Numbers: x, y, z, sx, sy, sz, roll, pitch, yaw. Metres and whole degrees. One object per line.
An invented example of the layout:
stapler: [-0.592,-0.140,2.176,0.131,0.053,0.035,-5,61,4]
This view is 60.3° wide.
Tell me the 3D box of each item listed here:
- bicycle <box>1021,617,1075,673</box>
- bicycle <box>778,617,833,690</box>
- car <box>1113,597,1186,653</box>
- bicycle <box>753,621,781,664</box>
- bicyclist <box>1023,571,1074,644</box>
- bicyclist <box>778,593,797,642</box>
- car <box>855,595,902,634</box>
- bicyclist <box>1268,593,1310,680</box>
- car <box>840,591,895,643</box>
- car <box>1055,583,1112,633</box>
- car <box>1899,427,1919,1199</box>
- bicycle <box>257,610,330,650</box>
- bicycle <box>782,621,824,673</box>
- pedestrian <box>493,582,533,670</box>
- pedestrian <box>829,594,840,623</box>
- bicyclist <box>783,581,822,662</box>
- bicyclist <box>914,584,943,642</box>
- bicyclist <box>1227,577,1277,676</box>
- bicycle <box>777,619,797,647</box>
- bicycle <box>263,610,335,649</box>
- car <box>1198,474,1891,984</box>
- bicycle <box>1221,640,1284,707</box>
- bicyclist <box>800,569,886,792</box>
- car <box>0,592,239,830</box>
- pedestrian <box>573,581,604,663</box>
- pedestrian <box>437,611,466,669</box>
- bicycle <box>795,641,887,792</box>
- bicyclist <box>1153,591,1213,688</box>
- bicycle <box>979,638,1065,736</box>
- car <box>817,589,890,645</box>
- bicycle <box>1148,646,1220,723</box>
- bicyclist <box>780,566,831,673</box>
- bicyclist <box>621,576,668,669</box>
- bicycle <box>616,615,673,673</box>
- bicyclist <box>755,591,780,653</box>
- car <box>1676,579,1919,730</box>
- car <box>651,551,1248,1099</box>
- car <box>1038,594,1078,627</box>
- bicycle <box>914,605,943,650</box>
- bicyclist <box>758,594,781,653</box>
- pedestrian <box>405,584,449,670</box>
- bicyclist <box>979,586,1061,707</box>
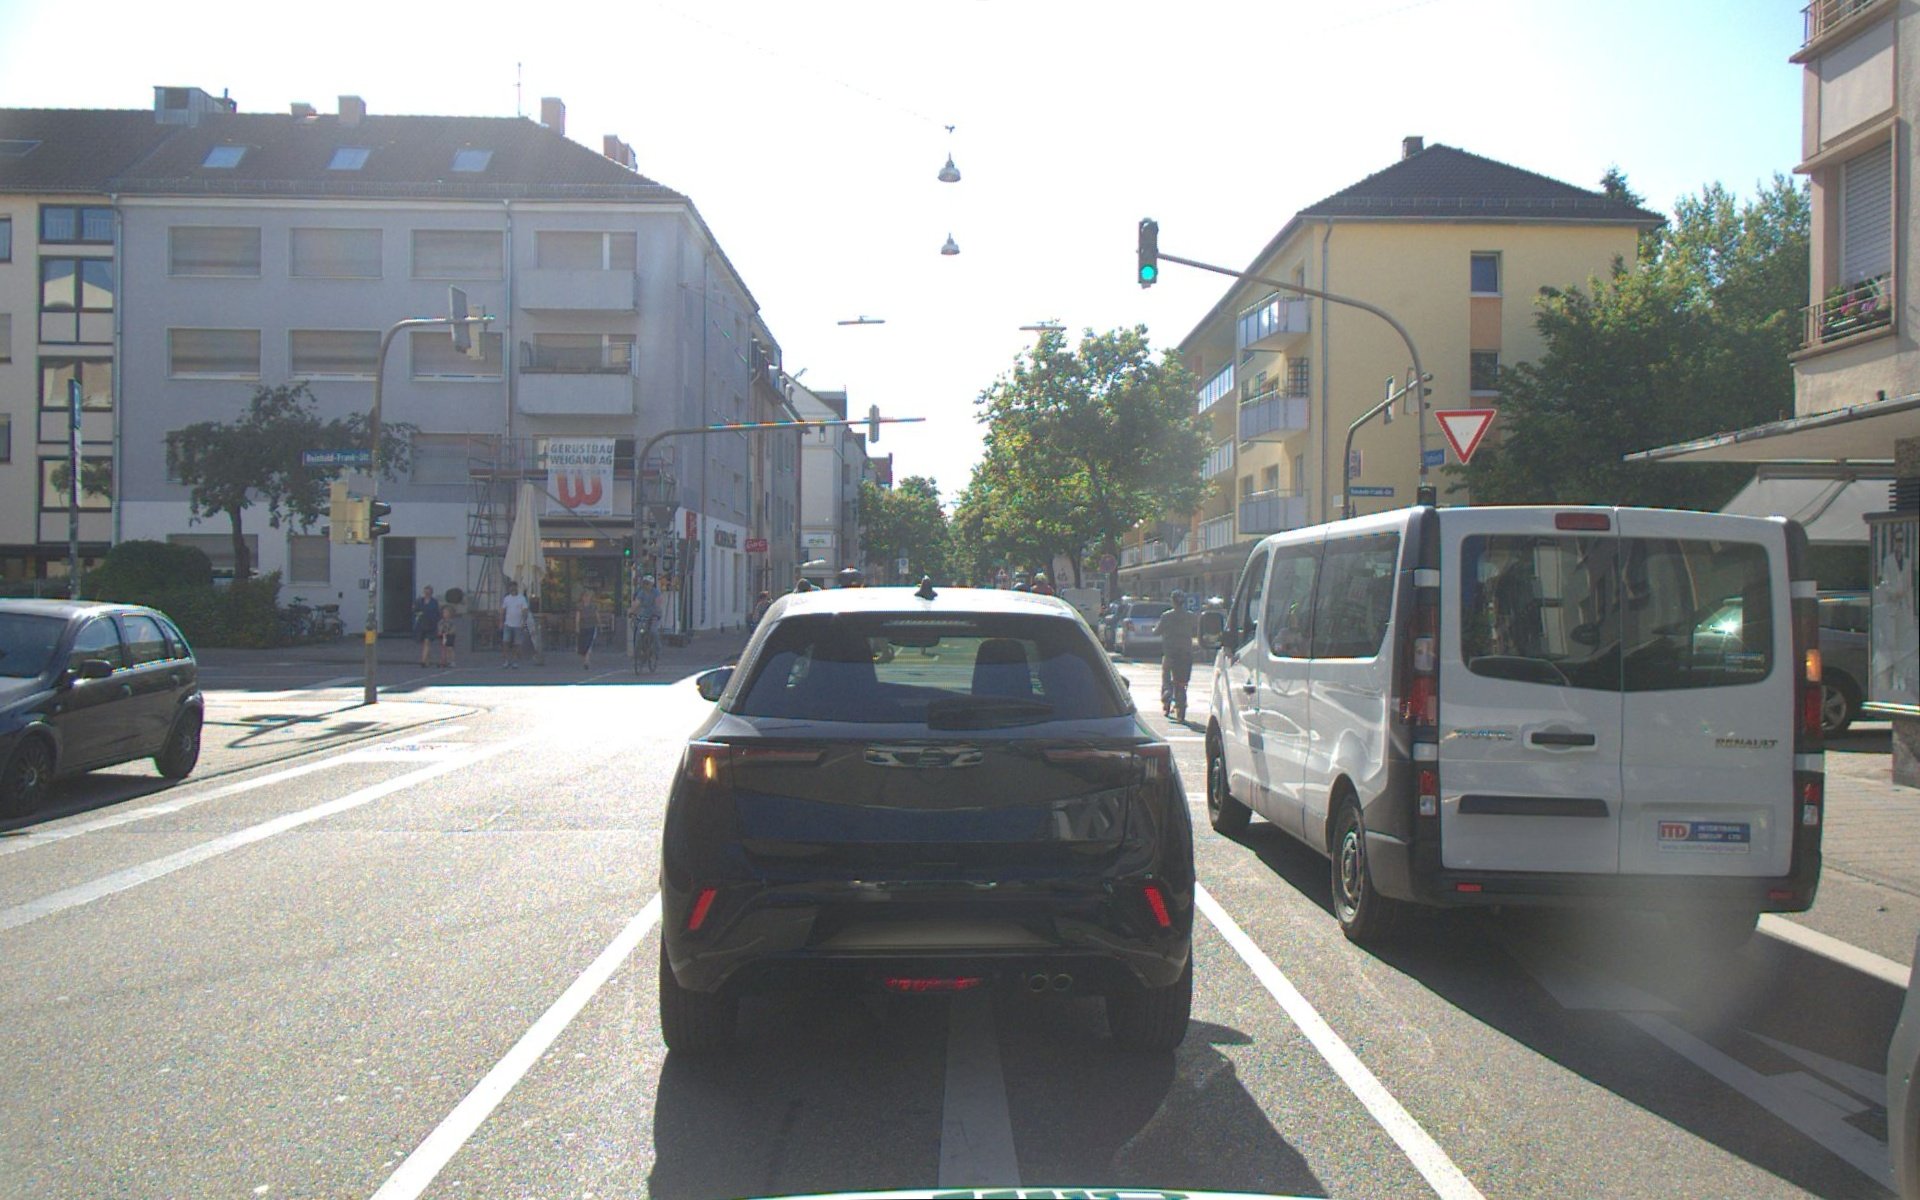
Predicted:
bicycle: [1.666,0.842,31.769,0.839,0.961,2.307,2,0,-1]
bicycle: [-2.410,0.823,25.915,0.702,1.082,1.872,0,0,-1]
car: [5.365,0.692,47.143,1.677,1.509,3.480,0,0,0]
bicycle: [-4.442,0.966,38.113,0.532,0.918,1.825,0,0,-4]
bicyclist: [1.691,0.142,31.744,0.839,1.337,1.210,2,0,-1]
bicyclist: [-5.599,0.563,53.802,0.542,1.576,0.814,1,0,-4]
car: [-3.248,0.550,65.964,1.769,1.437,4.423,-1,0,-3]
bicyclist: [5.453,0.596,27.453,0.535,1.406,0.823,0,0,0]
car: [-2.951,0.553,53.241,1.559,1.593,4.088,-1,0,0]
car: [4.809,0.292,64.995,2.003,1.879,4.585,0,0,1]
car: [3.057,0.558,1.173,1.928,1.842,4.831,0,0,-2]
bicycle: [-16.110,0.719,40.009,1.556,0.956,0.512,0,0,1]
bicycle: [-3.166,0.932,33.461,0.666,0.969,1.933,-1,0,-1]
pedestrian: [-8.859,0.511,32.784,0.561,1.718,0.670,0,0,4]
pedestrian: [-7.219,0.488,95.155,0.566,1.610,0.707,0,0,-6]
bicyclist: [-3.166,0.427,33.353,0.666,1.604,0.899,-1,0,-1]
bicyclist: [-0.917,0.363,48.265,0.785,1.678,1.125,0,0,1]
bicyclist: [4.249,0.379,24.110,0.576,1.406,0.823,0,0,0]
bicycle: [-5.608,1.055,53.608,0.542,0.848,2.130,1,0,-3]
bicycle: [-16.238,0.719,40.629,1.556,0.956,0.512,0,0,1]
car: [2.699,0.522,9.117,1.928,1.974,5.054,2,0,-1]
bicycle: [4.252,1.055,24.175,0.607,0.881,1.876,0,0,1]
bicyclist: [-0.916,0.611,13.161,0.619,1.698,1.050,0,0,-1]
car: [-7.096,0.712,12.503,1.657,1.473,3.855,2,0,-2]
pedestrian: [-7.345,0.427,32.738,0.521,1.609,0.562,0,0,-6]
pedestrian: [-10.250,0.803,33.349,0.377,1.166,0.532,0,0,5]
bicycle: [-0.921,0.888,13.162,0.619,1.059,1.795,0,0,-1]
bicyclist: [2.850,0.497,21.170,0.677,1.214,0.595,0,0,0]
bicycle: [0.686,0.966,19.083,0.839,0.961,2.307,2,0,-1]
car: [-2.916,0.445,46.017,1.800,1.459,4.176,0,0,-1]
bicycle: [2.843,1.056,21.168,0.677,0.881,1.876,0,0,0]
bicyclist: [-2.409,0.300,25.884,0.702,1.648,0.946,0,0,-1]
bicyclist: [-5.775,0.406,30.346,0.666,1.659,0.899,-1,0,-1]
bicycle: [-5.758,0.789,30.258,0.666,0.969,1.933,-1,0,-1]
bicyclist: [-4.430,0.500,38.045,0.532,1.415,0.788,0,0,-5]
car: [10.830,0.617,19.614,3.905,1.691,1.825,0,0,-1]
car: [-0.054,0.661,6.808,1.726,1.586,3.999,0,0,-1]
car: [4.590,0.496,78.078,1.677,1.509,3.380,0,0,0]
bicycle: [-0.920,0.785,48.286,0.785,1.277,2.139,0,0,0]
bicyclist: [-5.067,0.612,44.063,0.531,1.547,0.774,0,0,-1]
pedestrian: [-10.794,0.535,33.519,0.561,1.712,0.968,0,0,-1]
bicyclist: [0.688,0.527,19.344,0.839,1.337,1.210,2,0,-1]
